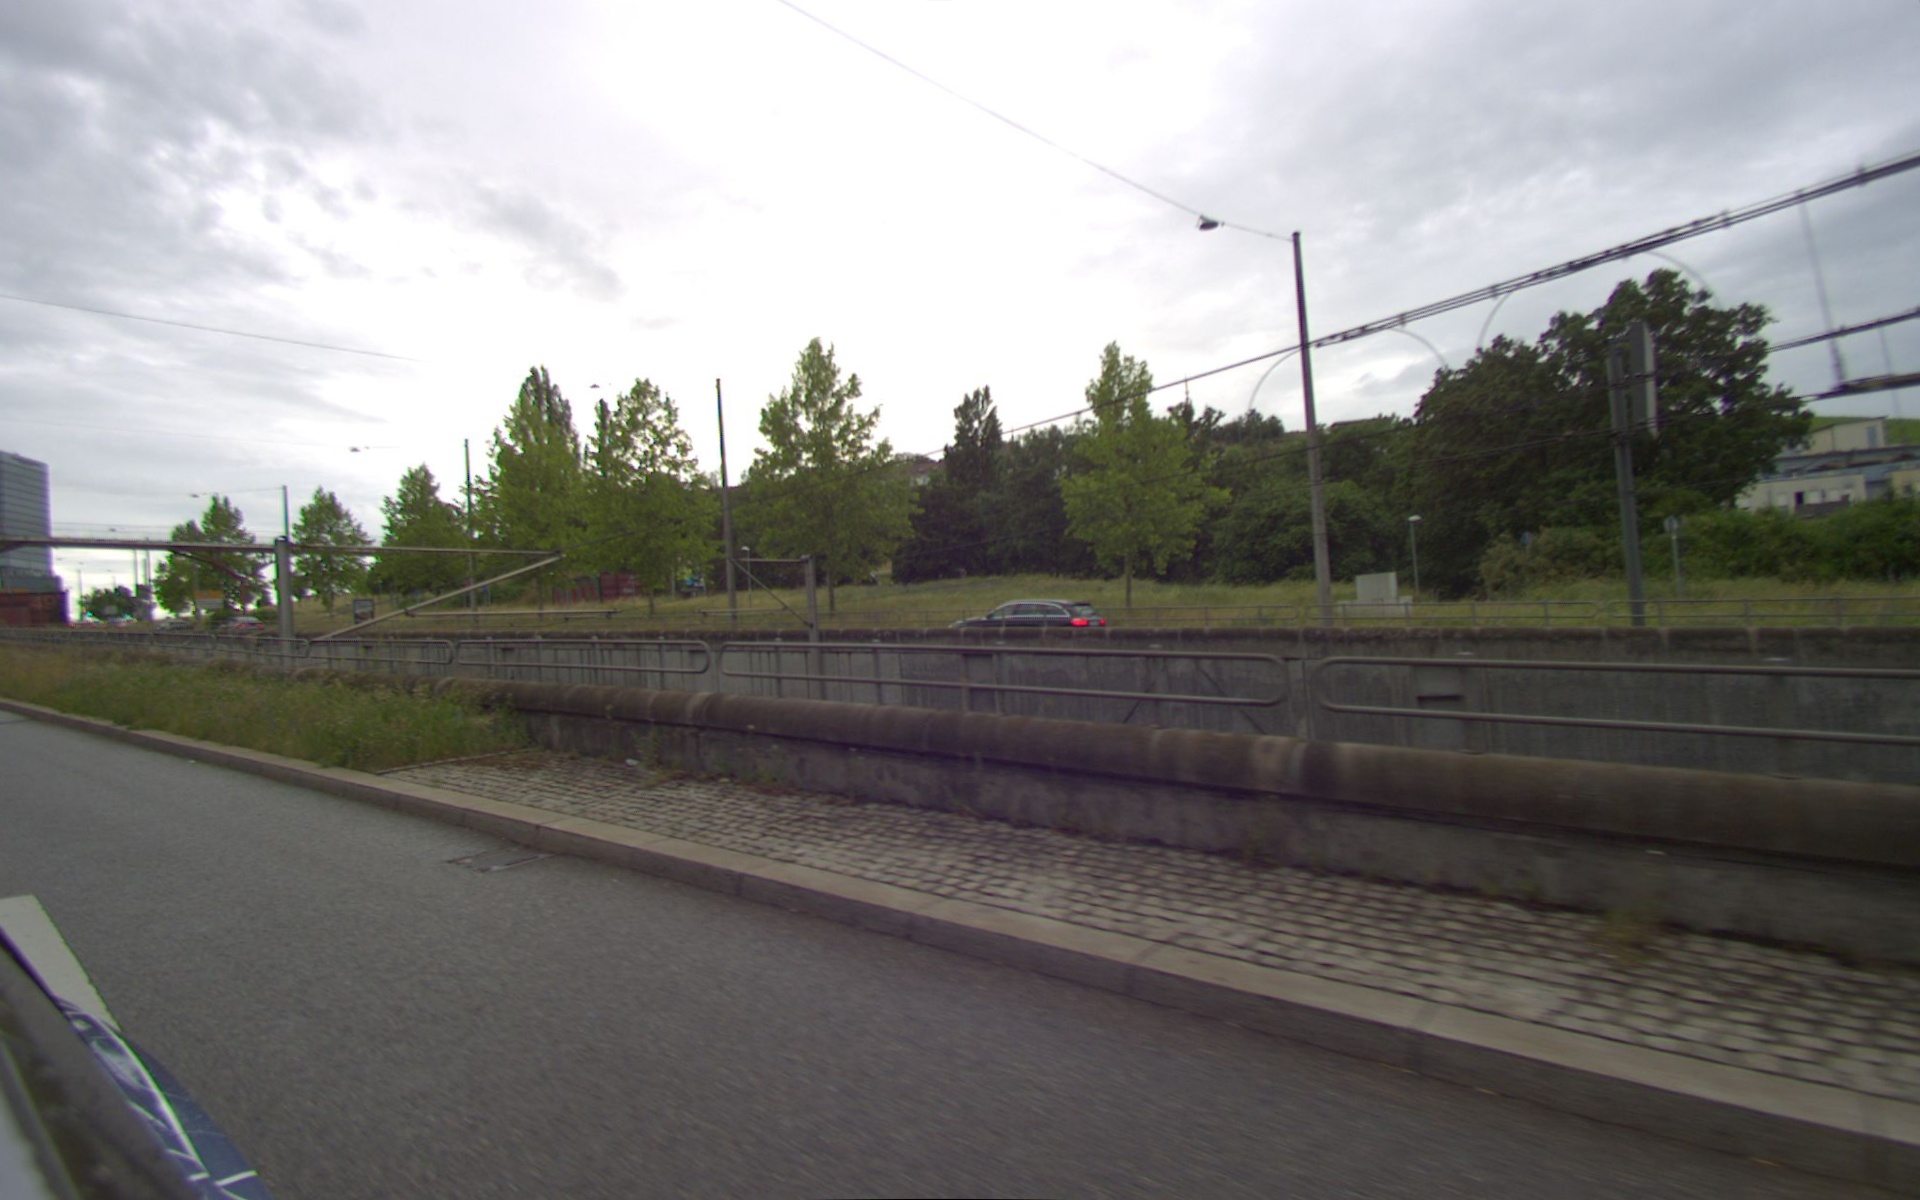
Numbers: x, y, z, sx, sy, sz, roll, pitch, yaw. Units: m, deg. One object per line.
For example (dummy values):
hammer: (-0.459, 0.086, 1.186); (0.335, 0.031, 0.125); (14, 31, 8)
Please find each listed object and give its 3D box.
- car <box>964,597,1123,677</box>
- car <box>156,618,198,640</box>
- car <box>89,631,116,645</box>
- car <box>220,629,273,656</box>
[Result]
car: (2.338, 1.029, 28.611); (4.027, 1.985, 1.874); (-2, 2, 36)
car: (-63.978, 2.378, 82.693); (3.969, 1.653, 1.872); (-2, -1, 40)
car: (-105.001, 4.650, 123.938); (3.784, 1.585, 1.642); (-2, 2, 36)
car: (-49.980, 2.964, 70.886); (4.353, 1.656, 1.872); (-2, 3, 40)
